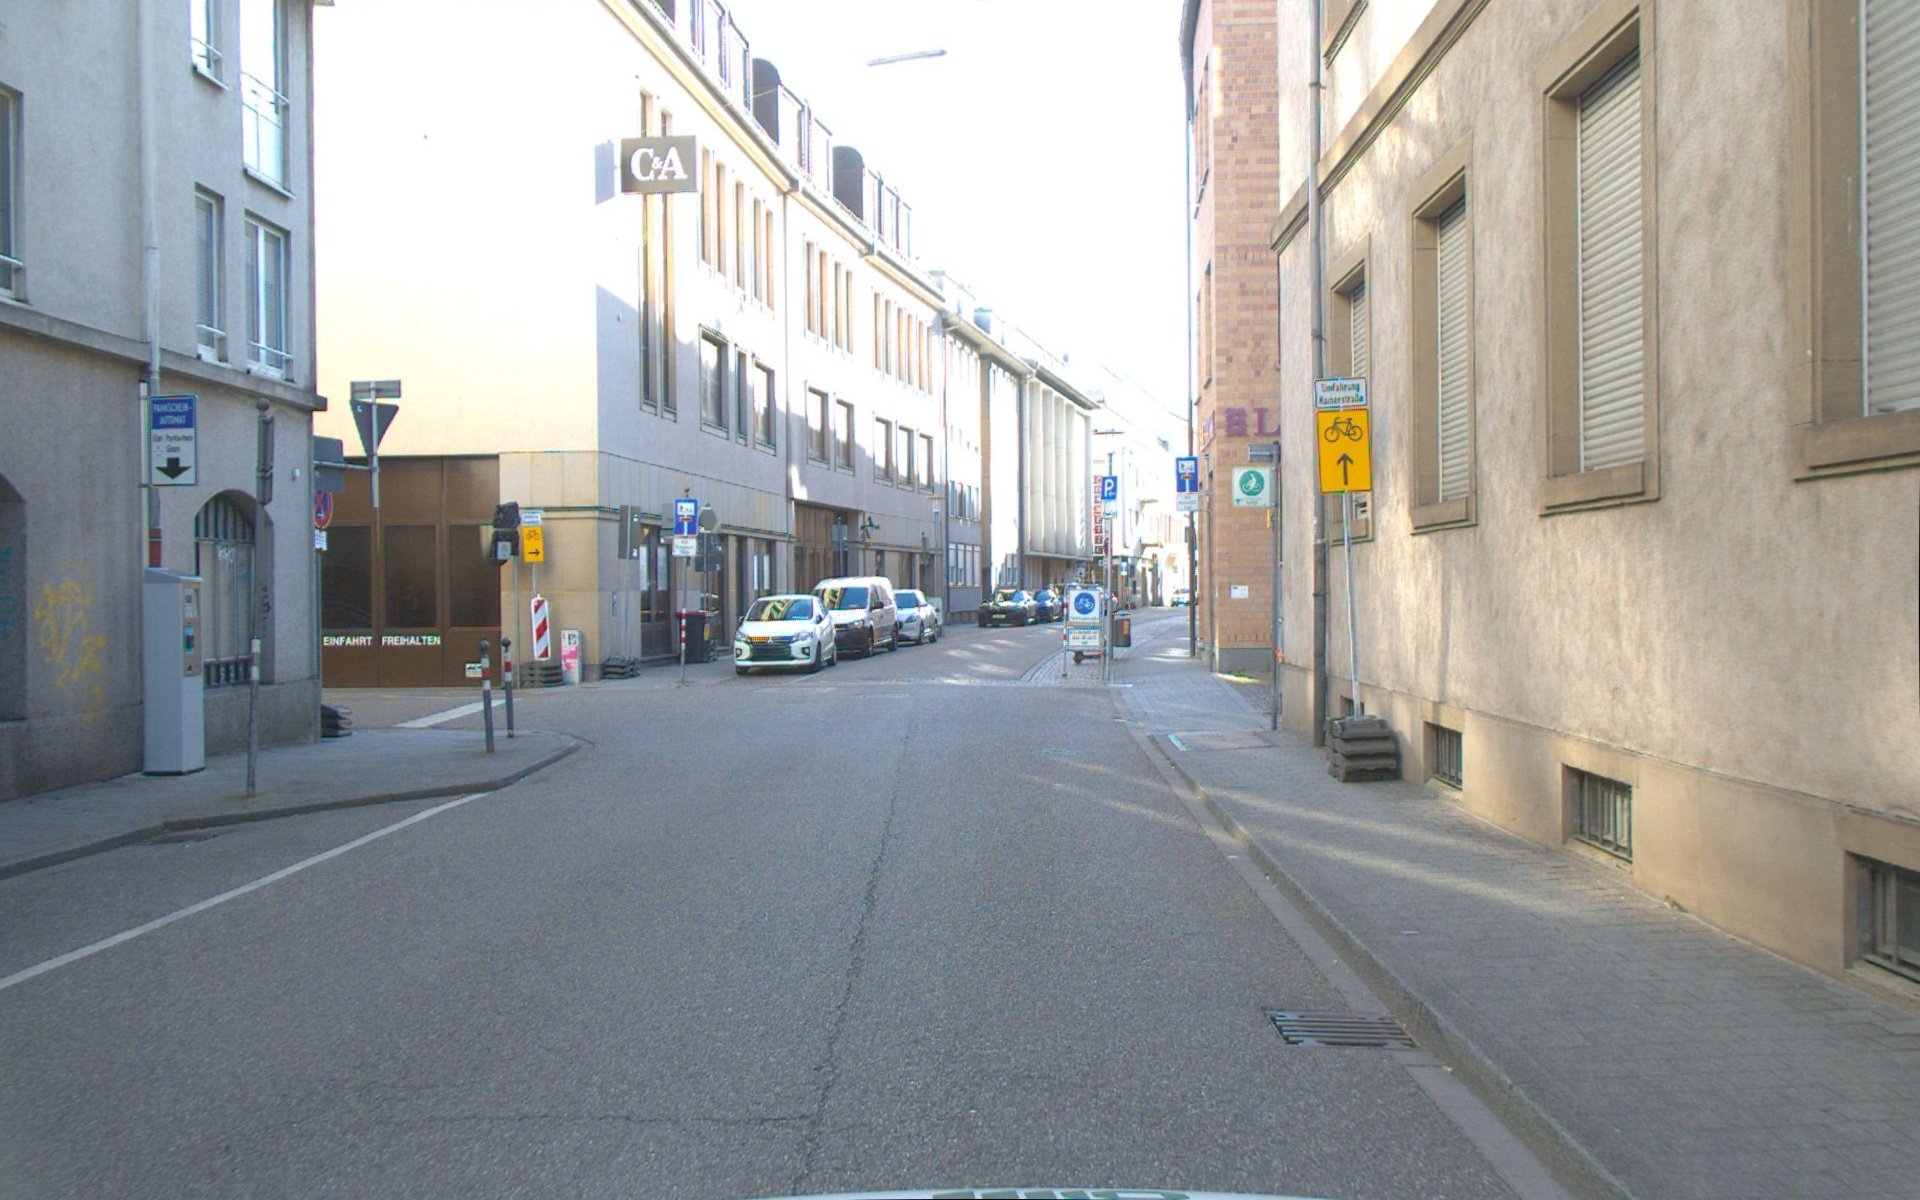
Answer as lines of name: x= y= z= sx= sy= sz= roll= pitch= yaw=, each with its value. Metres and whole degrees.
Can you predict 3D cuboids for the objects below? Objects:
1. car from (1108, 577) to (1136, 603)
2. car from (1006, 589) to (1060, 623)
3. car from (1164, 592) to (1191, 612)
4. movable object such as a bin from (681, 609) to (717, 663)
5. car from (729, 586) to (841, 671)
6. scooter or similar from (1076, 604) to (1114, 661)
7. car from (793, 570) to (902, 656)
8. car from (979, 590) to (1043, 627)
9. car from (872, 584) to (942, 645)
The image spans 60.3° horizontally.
car: x=10.012 y=-0.636 z=102.010 sx=1.310 sy=1.520 sz=3.350 roll=-1 pitch=1 yaw=12
car: x=3.215 y=0.237 z=71.891 sx=1.687 sy=1.364 sz=4.004 roll=-1 pitch=1 yaw=12
car: x=16.659 y=0.145 z=126.690 sx=1.653 sy=1.394 sz=3.621 roll=-1 pitch=1 yaw=14
movable object such as a bin: x=-5.404 y=0.735 z=34.282 sx=0.596 sy=1.079 sz=0.713 roll=2 pitch=0 yaw=-1
car: x=-3.432 y=0.517 z=33.066 sx=1.635 sy=1.533 sz=3.795 roll=-2 pitch=0 yaw=2
scooter or similar: x=2.788 y=0.669 z=34.220 sx=0.754 sy=1.156 sz=0.269 roll=2 pitch=0 yaw=4
car: x=-2.565 y=0.257 z=38.907 sx=1.635 sy=1.850 sz=4.556 roll=-2 pitch=0 yaw=7
car: x=2.048 y=0.319 z=65.474 sx=1.841 sy=1.355 sz=4.104 roll=-1 pitch=1 yaw=12
car: x=-1.410 y=0.359 z=45.061 sx=1.244 sy=1.533 sz=3.405 roll=-2 pitch=0 yaw=8
